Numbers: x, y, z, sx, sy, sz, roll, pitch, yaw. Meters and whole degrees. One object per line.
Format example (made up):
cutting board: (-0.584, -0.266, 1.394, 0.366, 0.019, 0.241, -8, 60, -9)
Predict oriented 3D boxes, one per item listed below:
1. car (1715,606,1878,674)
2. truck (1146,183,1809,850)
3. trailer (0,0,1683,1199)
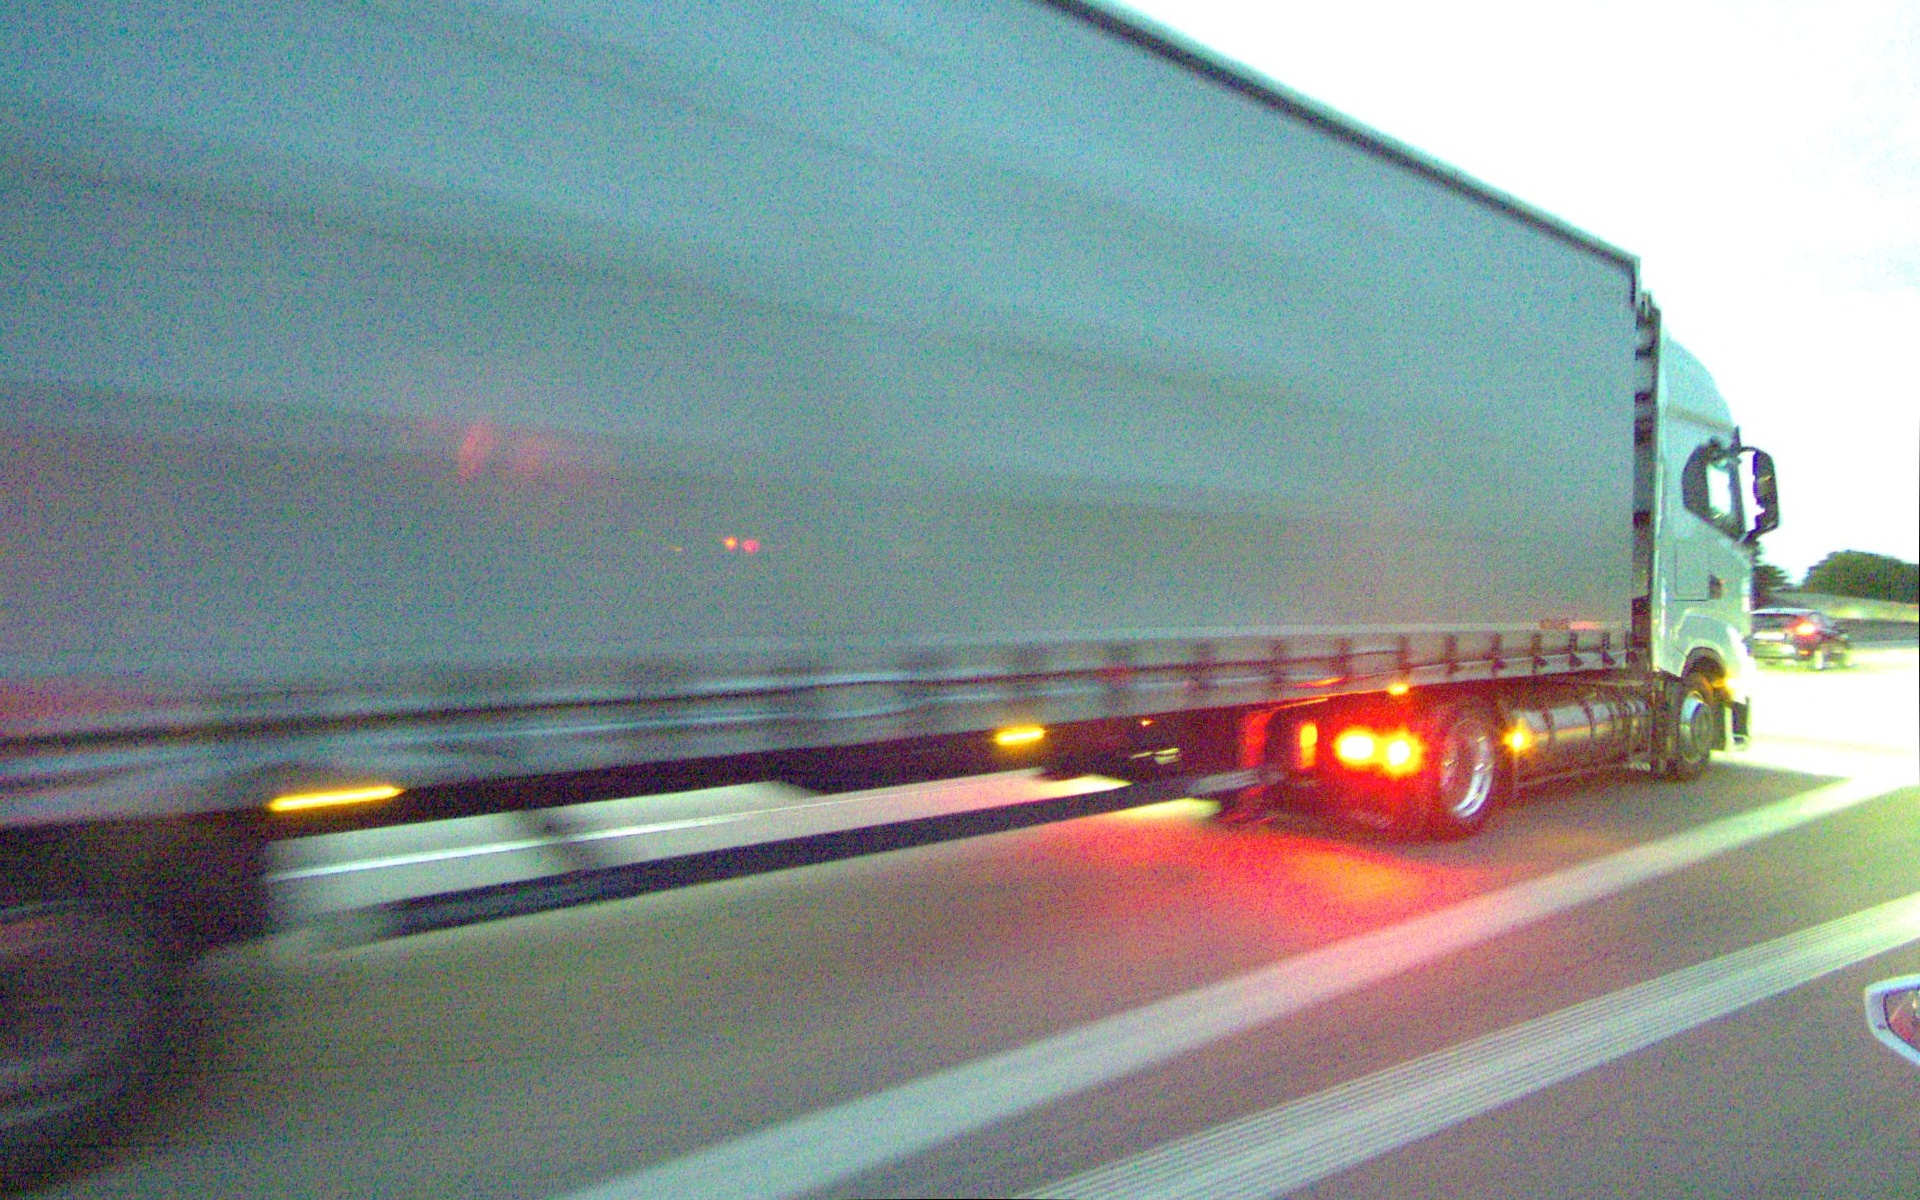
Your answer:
car: (20.952, 0.933, 25.124, 4.502, 1.518, 1.981, 1, 1, -34)
truck: (4.791, -0.477, 8.887, 6.094, 3.954, 2.760, 0, 0, -36)
trailer: (-1.265, -0.547, 4.530, 14.671, 3.968, 2.755, 1, 0, -35)
